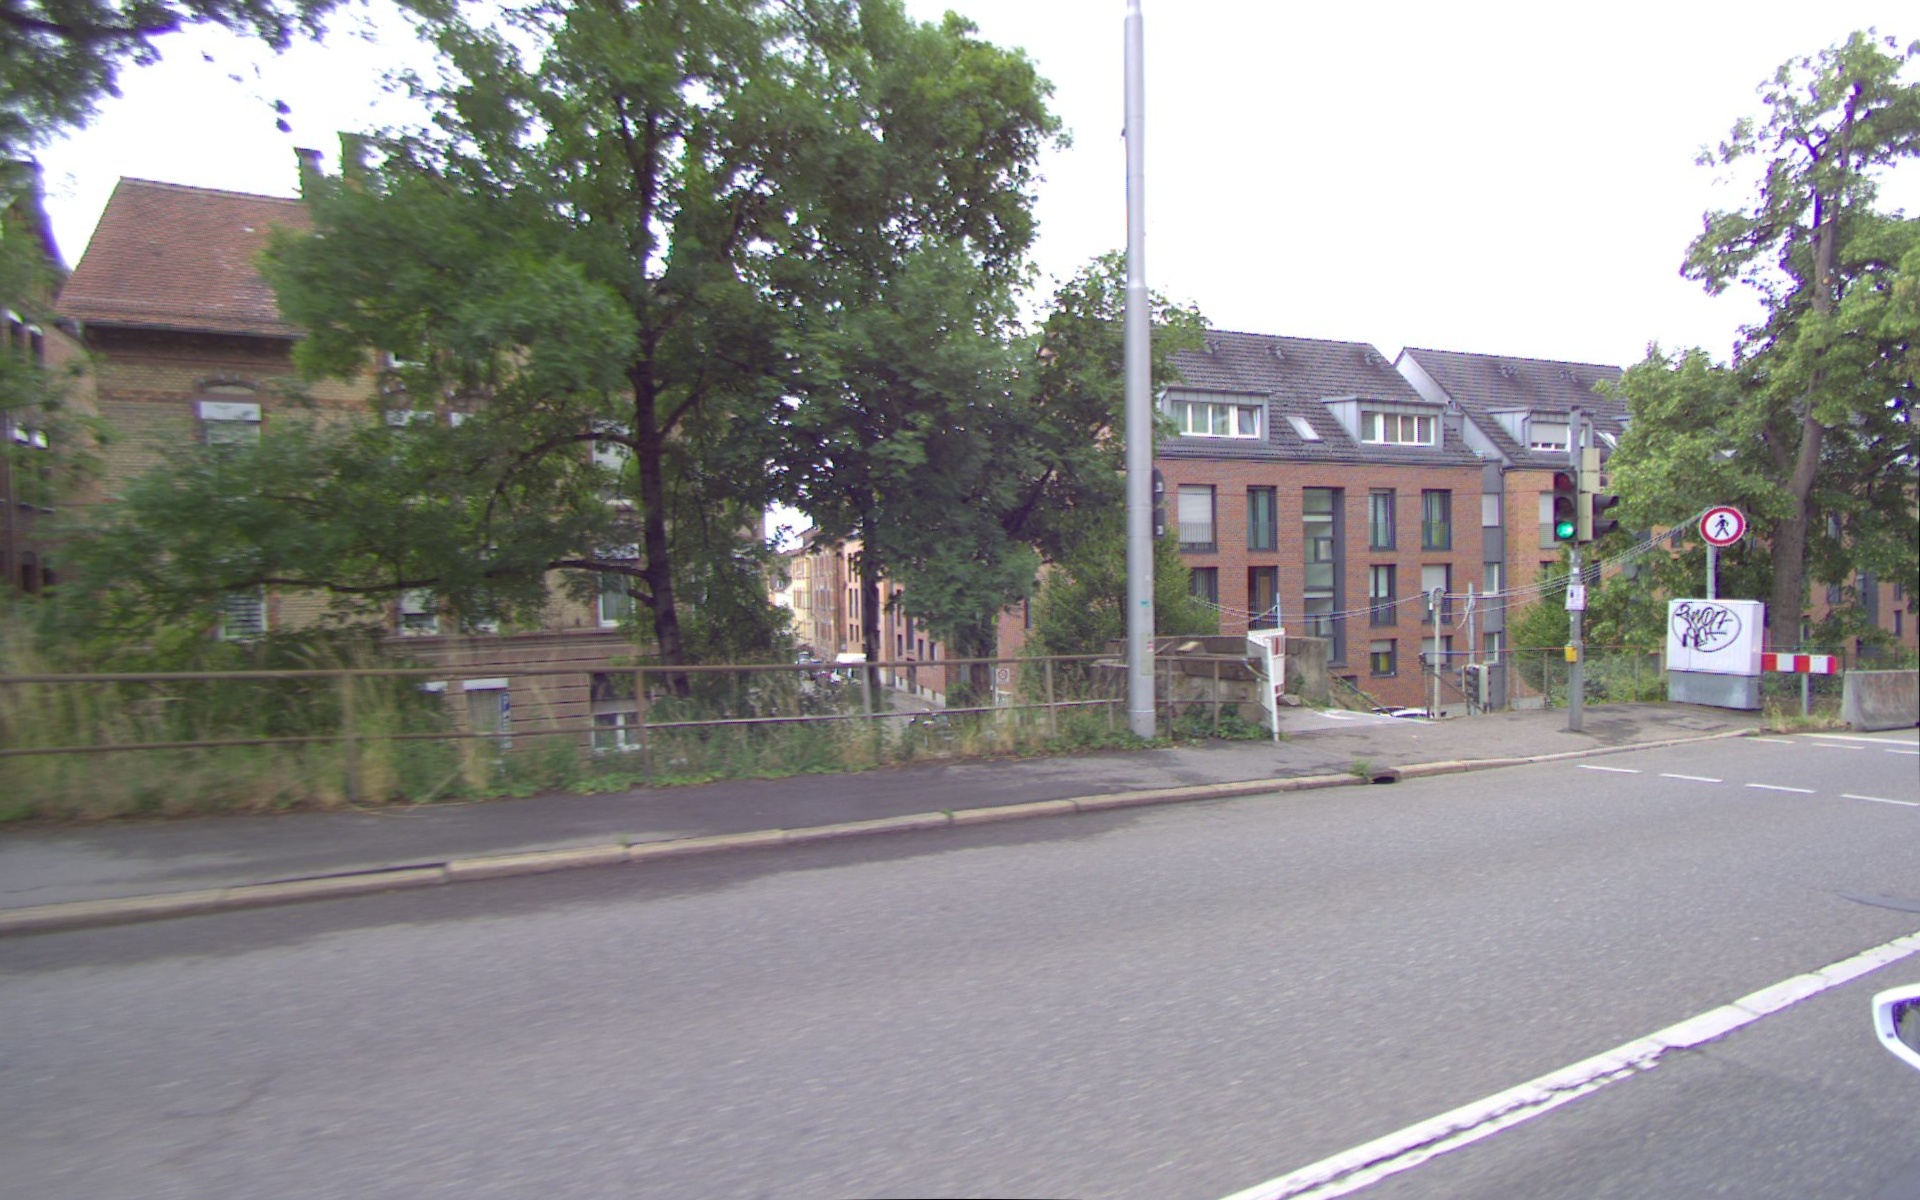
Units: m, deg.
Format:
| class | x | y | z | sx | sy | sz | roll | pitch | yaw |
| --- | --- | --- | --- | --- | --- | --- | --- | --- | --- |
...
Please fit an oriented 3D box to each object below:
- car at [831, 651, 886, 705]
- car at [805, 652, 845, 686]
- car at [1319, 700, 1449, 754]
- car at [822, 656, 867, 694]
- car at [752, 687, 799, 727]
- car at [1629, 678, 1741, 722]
| class | x | y | z | sx | sy | sz | roll | pitch | yaw |
| --- | --- | --- | --- | --- | --- | --- | --- | --- | --- |
| car | -6.088 | 4.549 | 59.522 | 2.015 | 2.733 | 5.532 | -3 | 0 | -18 |
| car | -9.647 | 4.885 | 71.756 | 2.015 | 2.132 | 4.181 | -3 | 0 | -19 |
| car | 14.348 | 4.250 | 34.008 | 3.942 | 1.530 | 1.791 | 1 | -2 | -22 |
| car | -7.561 | 4.827 | 65.403 | 2.015 | 2.132 | 4.181 | -3 | 0 | -19 |
| car | -8.955 | 5.119 | 48.586 | 1.771 | 1.530 | 3.985 | -1 | -1 | -17 |
| car | 28.905 | 3.949 | 40.071 | 3.941 | 1.530 | 1.791 | 1 | -2 | -22 |
